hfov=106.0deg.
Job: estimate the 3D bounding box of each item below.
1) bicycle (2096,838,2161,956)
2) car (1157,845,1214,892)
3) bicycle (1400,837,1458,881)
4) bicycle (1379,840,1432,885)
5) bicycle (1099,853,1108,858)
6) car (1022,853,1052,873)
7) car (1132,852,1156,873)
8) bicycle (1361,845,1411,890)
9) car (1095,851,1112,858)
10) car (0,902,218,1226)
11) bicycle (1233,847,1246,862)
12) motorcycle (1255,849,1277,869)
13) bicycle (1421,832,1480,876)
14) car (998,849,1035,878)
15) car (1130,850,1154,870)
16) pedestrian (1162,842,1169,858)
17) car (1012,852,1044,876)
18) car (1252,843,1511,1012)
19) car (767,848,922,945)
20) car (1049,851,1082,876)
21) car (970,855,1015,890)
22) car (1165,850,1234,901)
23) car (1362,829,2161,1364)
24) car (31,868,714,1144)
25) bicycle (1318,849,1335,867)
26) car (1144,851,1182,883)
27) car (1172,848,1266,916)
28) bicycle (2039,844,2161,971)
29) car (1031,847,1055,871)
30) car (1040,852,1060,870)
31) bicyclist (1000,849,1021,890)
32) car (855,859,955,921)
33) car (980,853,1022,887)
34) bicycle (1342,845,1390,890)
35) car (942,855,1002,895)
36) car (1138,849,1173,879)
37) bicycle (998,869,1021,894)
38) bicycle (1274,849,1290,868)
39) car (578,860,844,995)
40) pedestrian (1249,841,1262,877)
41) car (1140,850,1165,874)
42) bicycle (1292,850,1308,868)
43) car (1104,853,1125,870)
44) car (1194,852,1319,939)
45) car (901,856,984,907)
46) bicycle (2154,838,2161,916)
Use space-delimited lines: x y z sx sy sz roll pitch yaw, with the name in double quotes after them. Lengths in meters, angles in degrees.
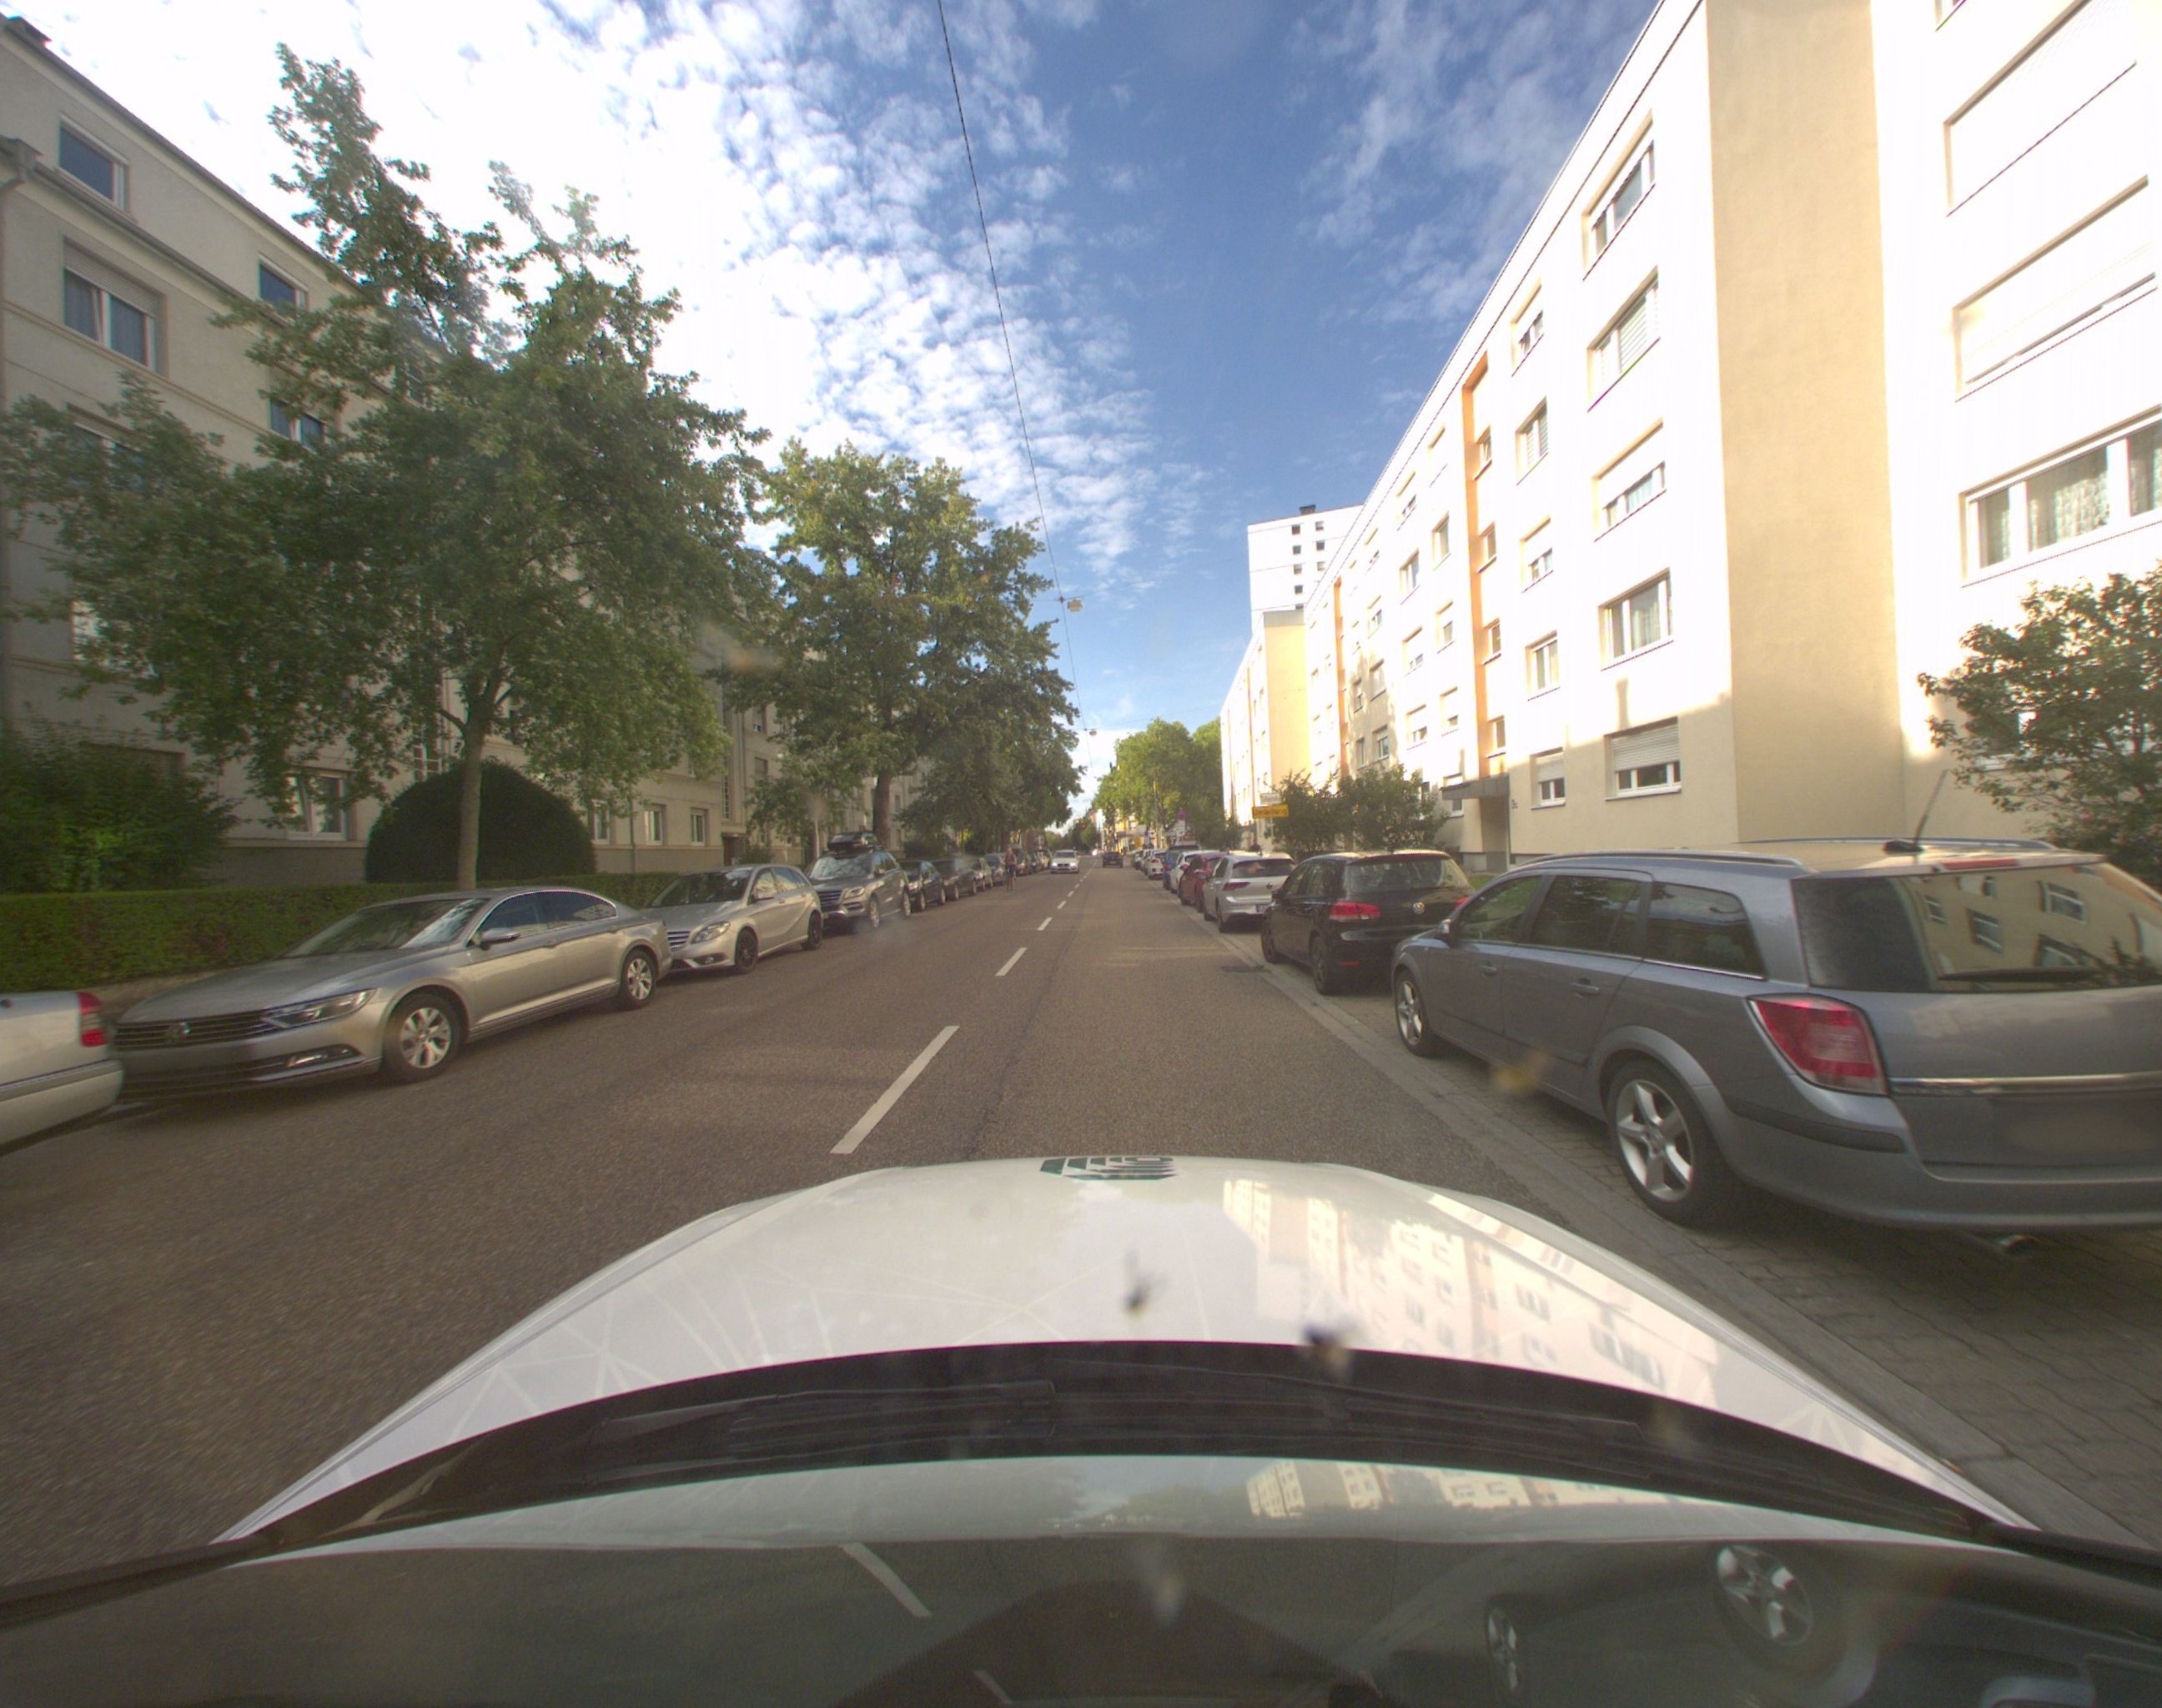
9.956 0.386 6.722 0.499 1.030 2.096 -5 0 2 "bicycle"
4.060 0.523 32.310 1.722 1.649 4.118 -4 0 1 "car"
10.875 0.151 25.582 0.723 1.291 2.637 -3 0 2 "bicycle"
10.157 0.261 25.595 0.593 1.291 2.637 -5 0 2 "bicycle"
5.607 0.363 201.517 2.024 1.082 0.618 -3 0 -12 "bicycle"
-3.606 0.725 67.492 1.686 1.493 4.339 -4 0 5 "car"
4.883 0.635 62.949 1.682 1.528 4.243 -2 0 4 "car"
9.561 0.399 25.630 0.601 1.291 2.637 -4 0 2 "bicycle"
5.516 0.166 203.935 3.981 1.420 1.996 -3 0 -6 "car"
-5.772 1.050 2.199 1.732 1.393 4.667 -5 0 1 "car"
12.230 0.008 63.014 0.594 1.115 2.210 -4 0 2 "bicycle"
9.901 0.257 43.626 0.628 1.044 2.394 -4 0 1 "motorcycle"
11.587 -0.015 25.631 0.723 1.291 2.637 -2 0 2 "bicycle"
-4.234 0.616 54.041 1.792 1.668 4.486 -5 0 3 "car"
5.125 0.506 69.093 1.684 1.528 4.238 -3 0 1 "car"
9.154 -0.450 88.218 0.650 1.645 0.743 -2 0 1 "pedestrian"
-3.769 0.686 58.566 1.693 1.486 3.851 -5 0 3 "car"
3.275 0.702 9.727 1.655 1.491 3.943 -4 0 2 "car"
-5.180 0.832 18.654 1.871 1.793 4.971 -5 0 1 "car"
-1.013 0.618 54.333 1.851 1.528 4.014 -2 0 3 "car"
-4.214 0.854 39.365 1.609 1.468 4.013 -5 0 0 "car"
3.901 0.661 27.334 1.722 1.461 4.118 -4 0 1 "car"
3.147 0.696 4.539 1.678 1.485 4.294 -3 0 1 "car"
-5.641 1.013 7.665 1.848 1.486 4.946 -6 0 2 "car"
13.204 0.231 43.833 0.457 0.927 1.517 -4 0 1 "bicycle"
4.254 0.626 42.818 1.721 1.487 4.645 -4 0 3 "car"
3.567 0.673 21.759 1.723 1.515 4.191 -4 0 0 "car"
9.364 0.447 6.630 0.591 1.030 2.120 -5 0 2 "bicycle"
-3.355 0.419 72.917 1.716 1.882 4.193 -4 0 2 "car"
-3.134 0.683 82.557 1.793 1.620 3.803 -5 0 0 "car"
-2.779 0.604 32.279 0.639 1.600 0.990 -2 0 2 "bicyclist"
-5.090 0.997 24.130 1.678 1.480 4.123 -6 0 4 "car"
-4.356 0.862 44.807 1.733 1.620 3.994 -6 0 0 "car"
8.926 0.405 25.614 0.601 1.291 2.637 -3 0 2 "bicycle"
-4.535 0.849 34.529 1.593 1.418 3.969 -6 0 4 "car"
4.416 0.567 48.513 1.722 1.580 4.118 -4 0 1 "car"
-2.812 1.074 32.263 0.639 0.923 1.859 -2 0 2 "bicycle"
10.806 0.241 43.723 0.457 0.941 1.517 -4 0 1 "bicycle"
-5.459 0.975 12.800 1.848 1.573 4.463 -4 0 3 "car"
8.740 0.248 40.793 0.539 1.721 0.773 -2 0 7 "pedestrian"
5.000 0.524 56.985 1.545 1.557 3.470 -2 0 2 "car"
11.760 0.237 43.736 0.457 0.927 1.517 -4 0 1 "bicycle"
2.884 0.646 71.430 1.745 1.413 4.001 -2 0 1 "car"
3.379 0.730 16.407 1.655 1.416 4.060 -4 0 2 "car"
-4.809 0.916 28.947 1.677 1.480 4.458 -6 0 5 "car"
10.475 0.348 6.707 0.499 1.030 2.070 -5 0 2 "bicycle"
